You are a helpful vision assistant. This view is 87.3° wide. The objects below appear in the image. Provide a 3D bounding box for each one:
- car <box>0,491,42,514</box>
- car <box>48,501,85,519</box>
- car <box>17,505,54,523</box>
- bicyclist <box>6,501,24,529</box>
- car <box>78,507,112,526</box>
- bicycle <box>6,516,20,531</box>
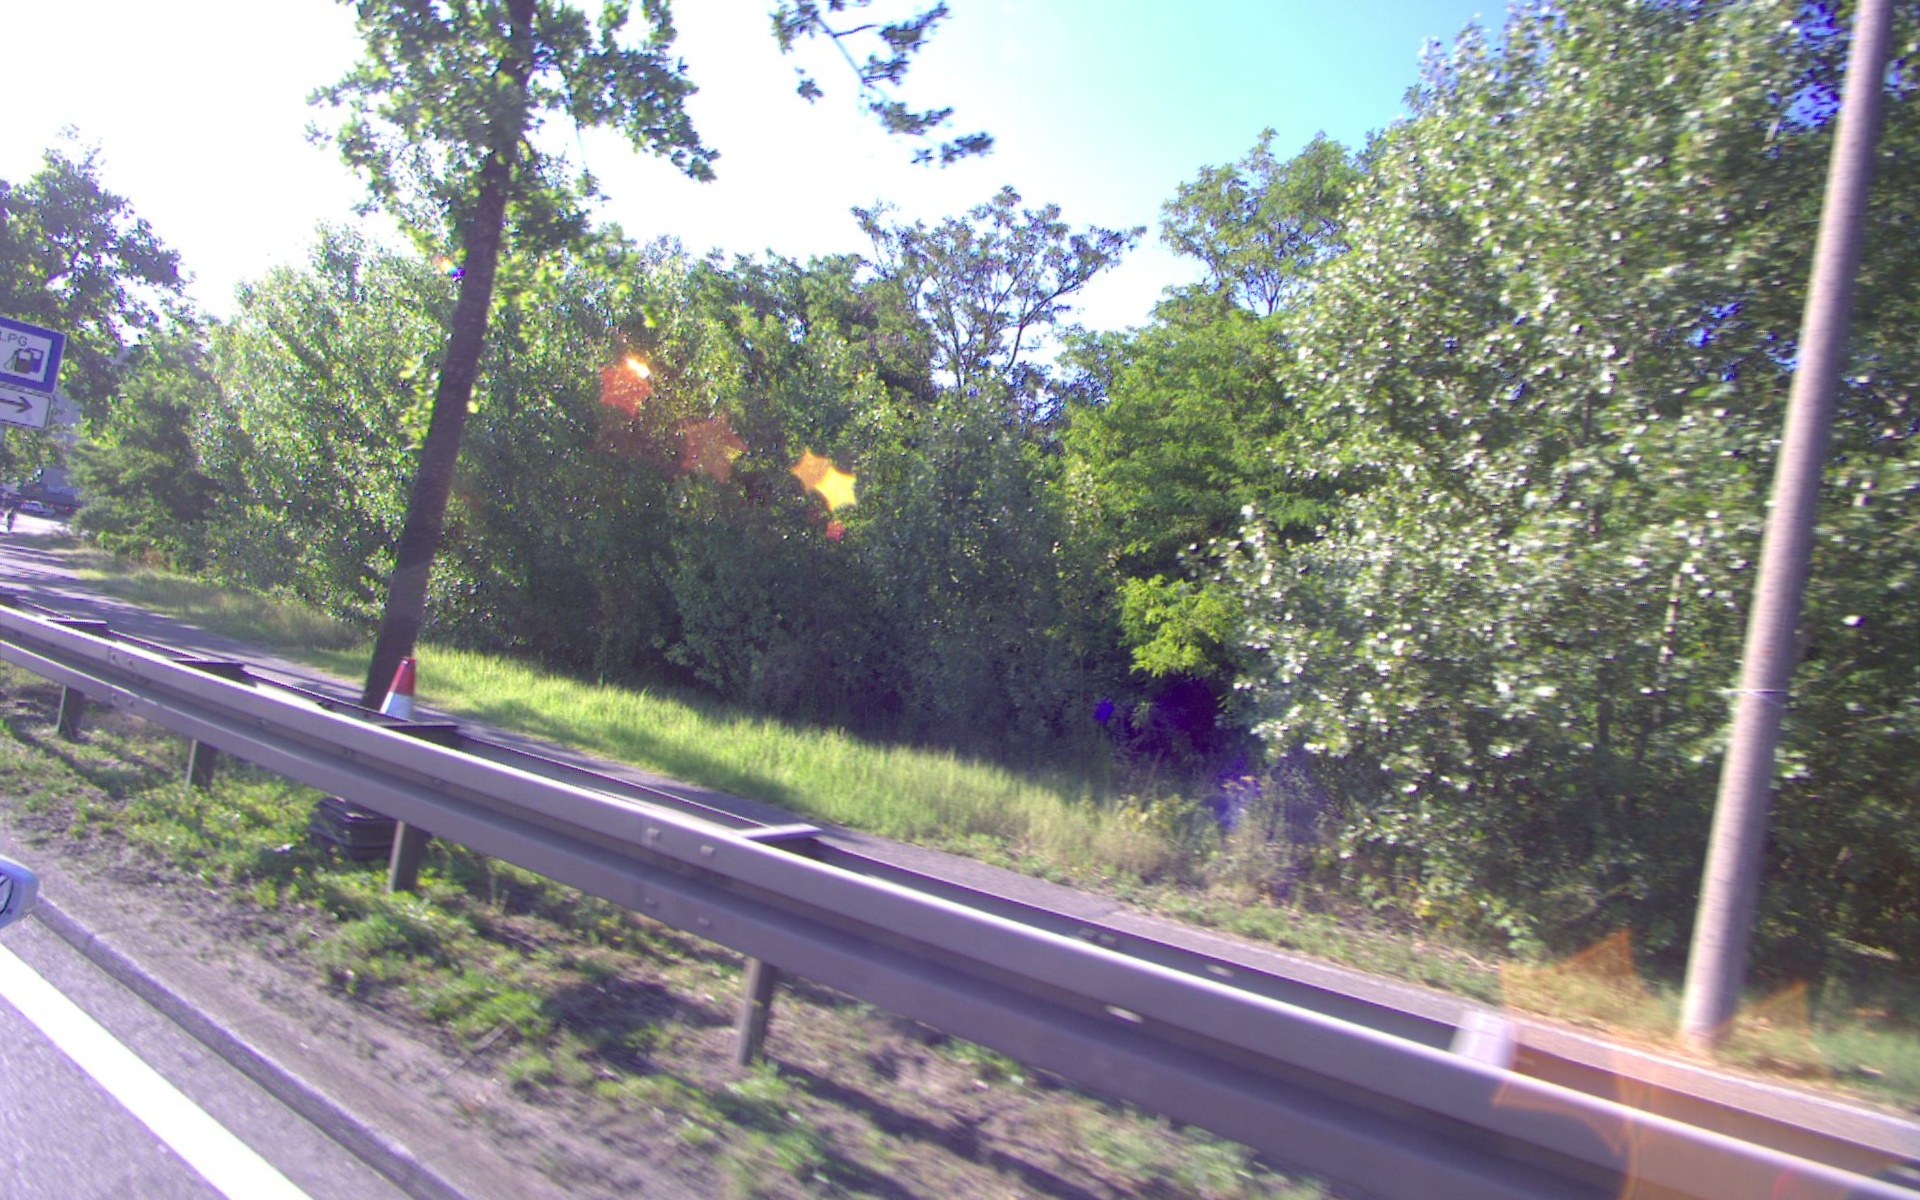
[{"bbox_3d":[-100.909,-10.398,107.886,1.811,1.757,4.443,11,-3,-20],"label":"car"},{"bbox_3d":[-103.393,-10.398,116.418,1.822,1.457,3.659,8,-2,-20],"label":"car"},{"bbox_3d":[-95.736,-8.914,104.219,1.531,1.440,3.400,8,-1,-22],"label":"car"},{"bbox_3d":[-69.890,-6.287,74.393,0.681,1.927,0.823,11,-2,-42],"label":"bicyclist"},{"bbox_3d":[-105.667,-10.163,122.991,1.823,1.739,3.980,8,-2,-22],"label":"car"},{"bbox_3d":[-69.948,-5.658,74.314,0.577,0.974,2.852,12,-3,-41],"label":"bicycle"}]
